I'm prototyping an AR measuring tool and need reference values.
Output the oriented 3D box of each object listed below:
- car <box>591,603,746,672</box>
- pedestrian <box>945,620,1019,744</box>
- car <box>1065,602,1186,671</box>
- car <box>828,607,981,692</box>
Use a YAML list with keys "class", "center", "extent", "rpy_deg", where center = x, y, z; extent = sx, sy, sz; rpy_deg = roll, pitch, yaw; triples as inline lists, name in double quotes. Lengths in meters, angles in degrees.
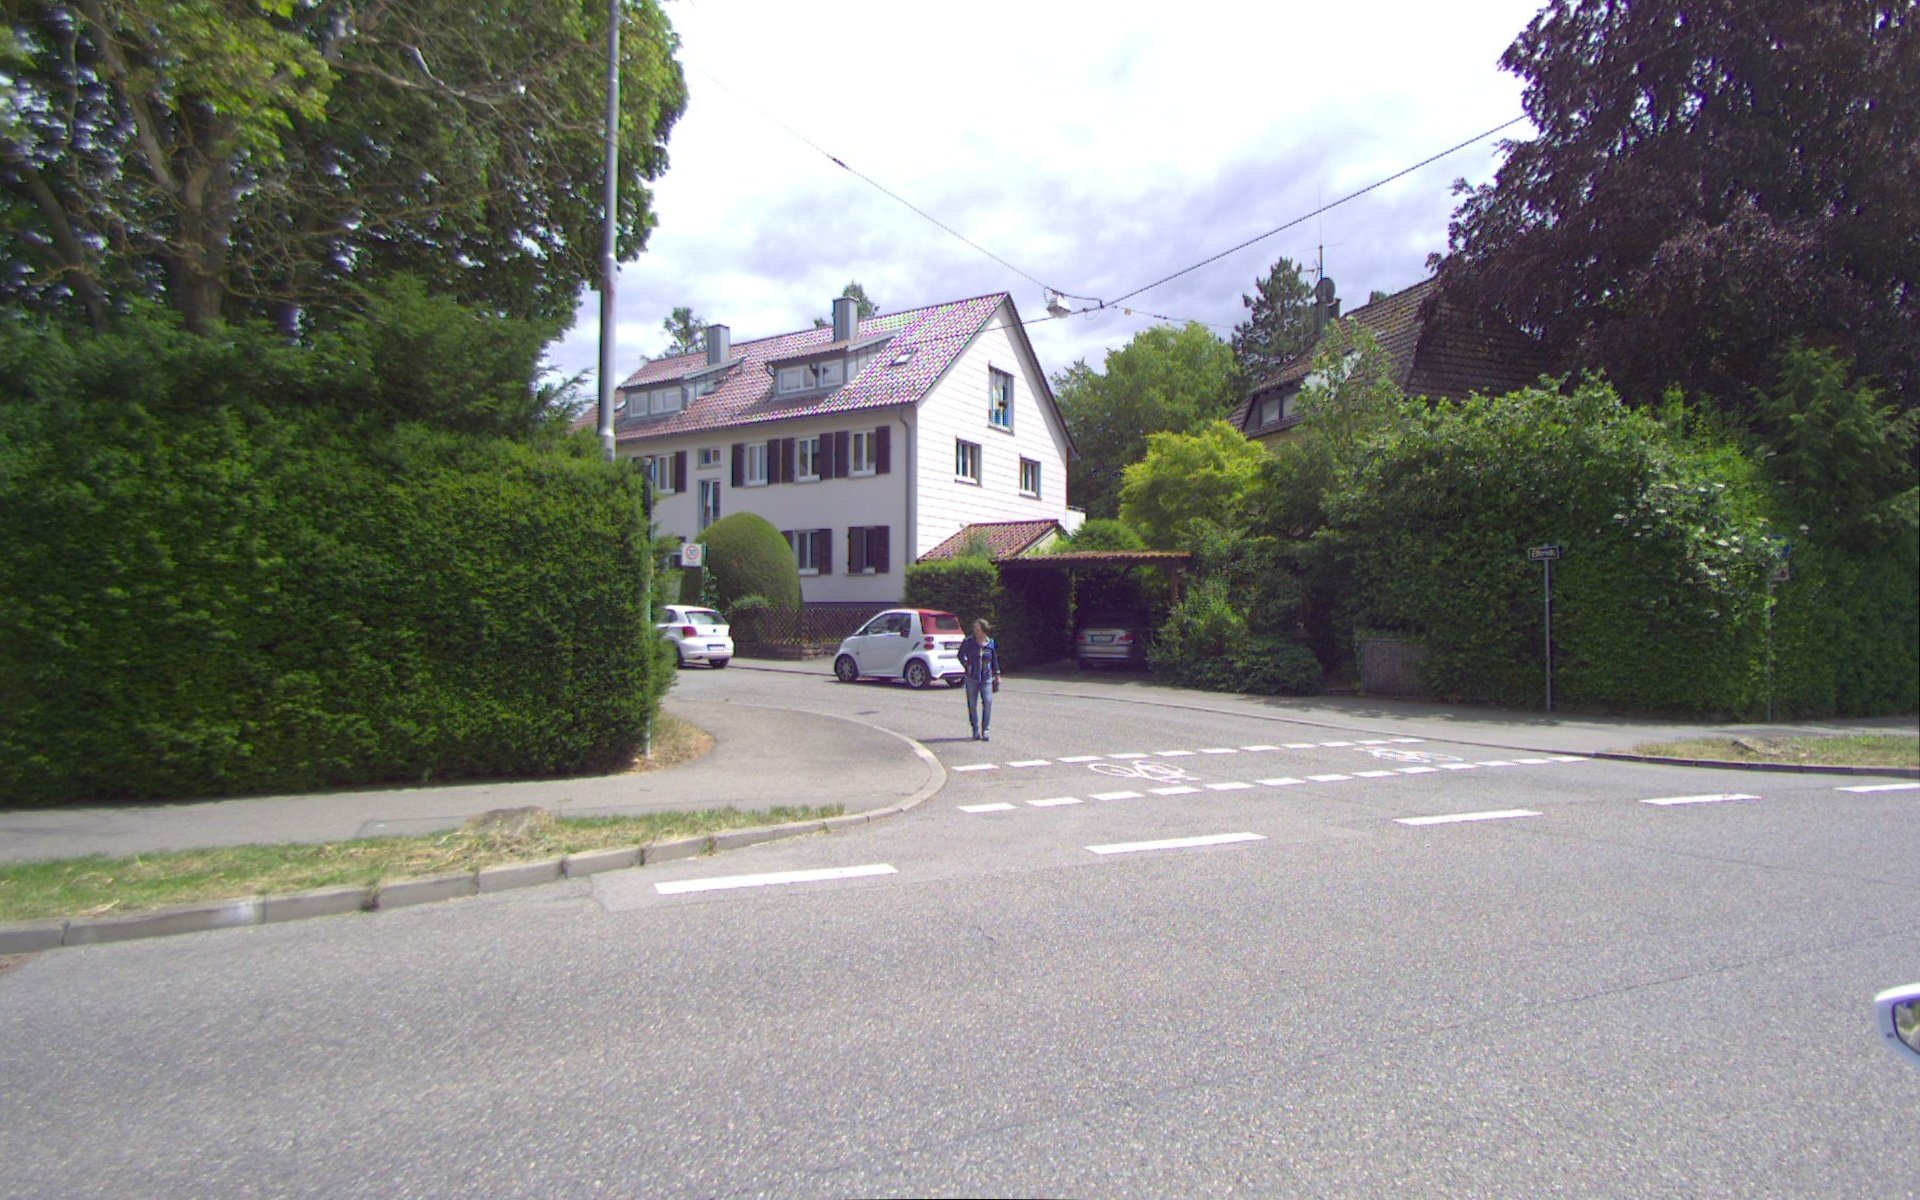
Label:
- class: "car"
  center: [-7.071, 0.874, 24.281]
  extent: [3.473, 1.474, 1.711]
  rpy_deg: [1, 0, 32]
- class: "pedestrian"
  center: [0.285, 1.038, 13.023]
  extent: [0.718, 1.528, 0.626]
  rpy_deg: [1, -1, 31]
- class: "car"
  center: [4.118, 0.832, 24.501]
  extent: [1.697, 1.530, 3.994]
  rpy_deg: [1, 0, 28]
- class: "car"
  center: [-1.156, 0.970, 20.706]
  extent: [2.731, 1.576, 1.585]
  rpy_deg: [1, 0, 34]
